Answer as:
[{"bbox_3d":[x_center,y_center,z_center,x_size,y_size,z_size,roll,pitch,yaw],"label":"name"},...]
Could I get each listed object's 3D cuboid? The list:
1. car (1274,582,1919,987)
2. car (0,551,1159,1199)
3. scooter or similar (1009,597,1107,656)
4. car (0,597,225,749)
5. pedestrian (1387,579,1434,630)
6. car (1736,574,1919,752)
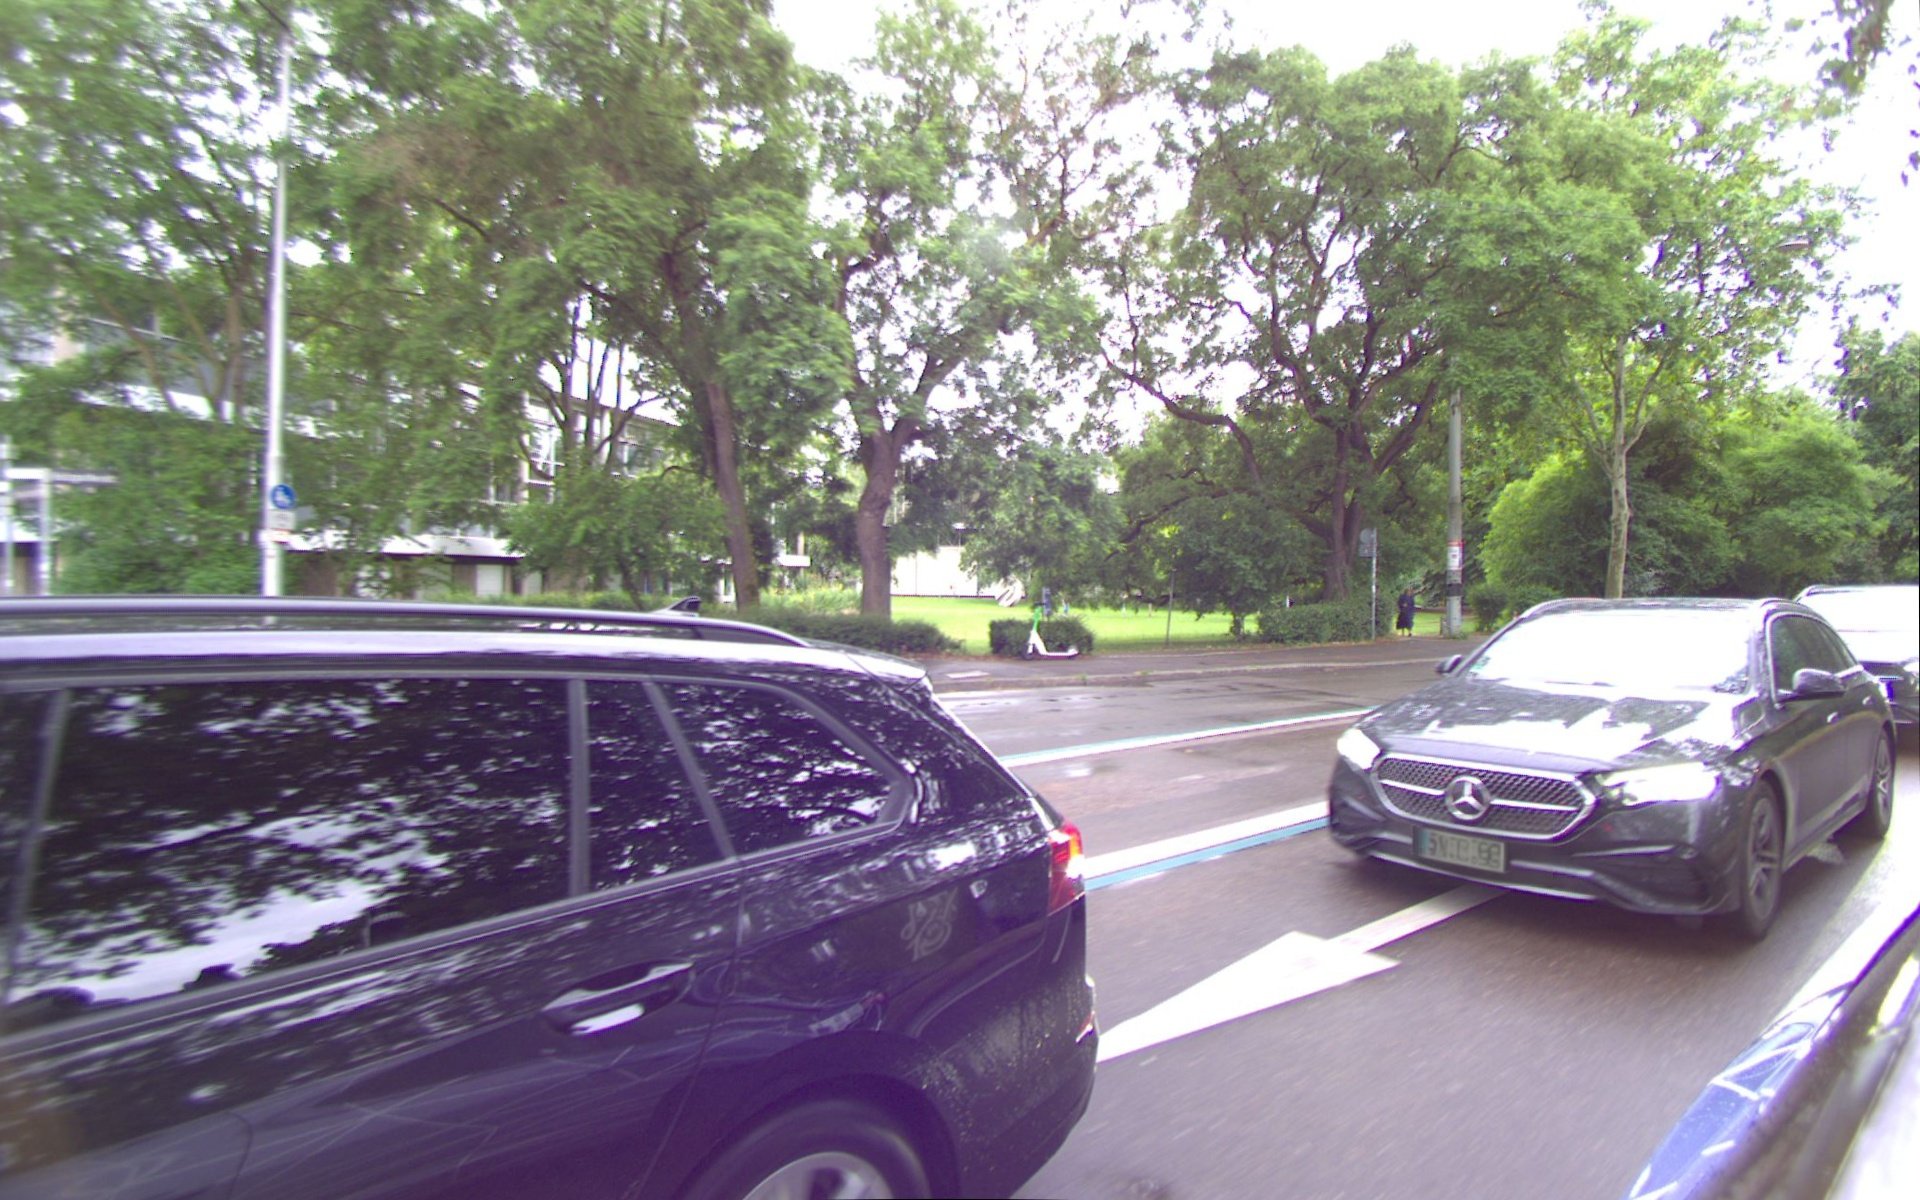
[{"bbox_3d":[4.053,0.655,5.950,4.842,1.464,1.883,0,0,-40],"label":"car"},{"bbox_3d":[-1.761,0.682,1.419,4.434,1.484,1.672,1,0,-42],"label":"car"},{"bbox_3d":[1.980,0.531,20.422,1.851,1.114,0.559,1,3,-19],"label":"scooter or similar"},{"bbox_3d":[-10.474,0.710,10.440,4.311,1.468,1.872,0,0,-19],"label":"car"},{"bbox_3d":[14.705,0.136,33.058,1.038,1.626,1.071,-1,0,1],"label":"pedestrian"},{"bbox_3d":[10.160,0.544,11.019,4.497,1.628,1.832,-1,0,-41],"label":"car"}]
